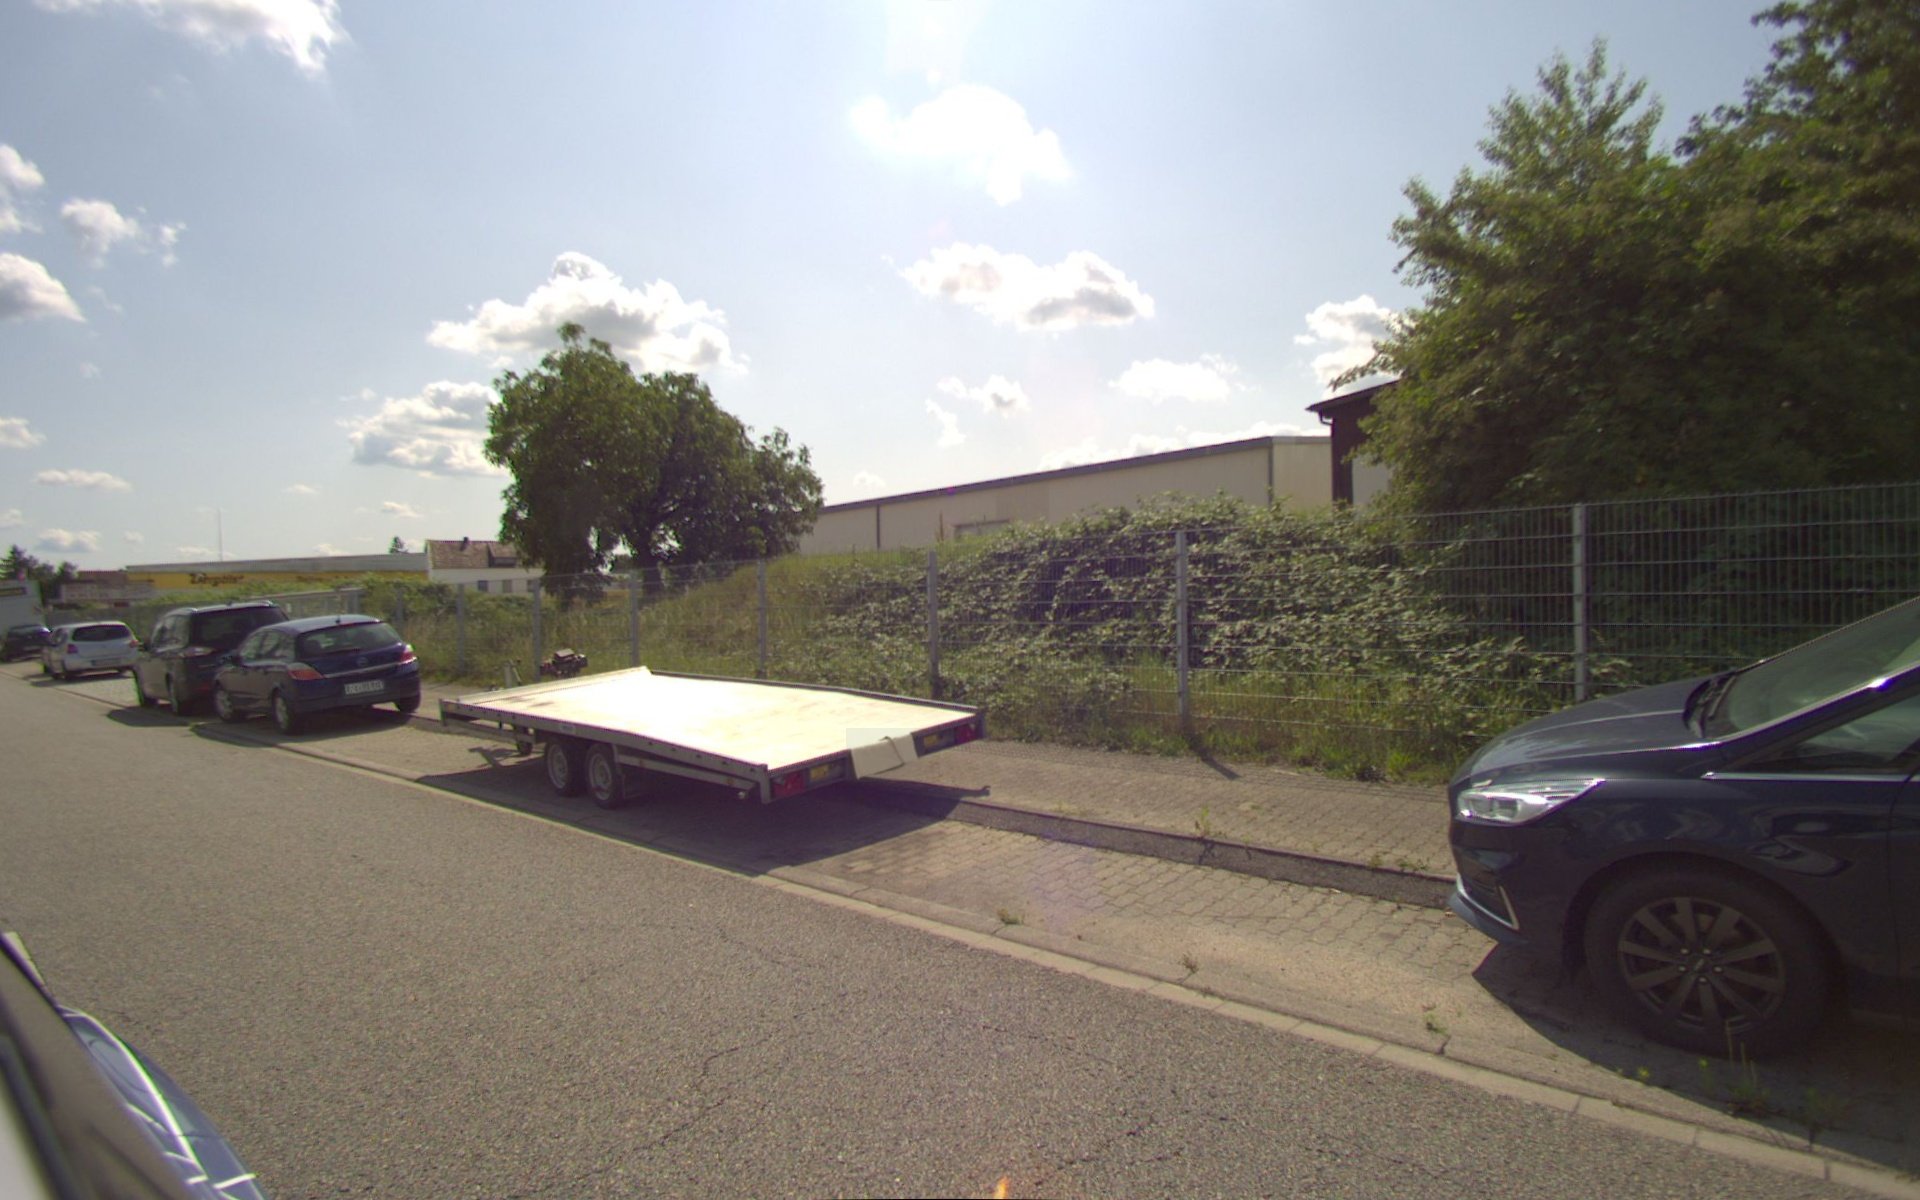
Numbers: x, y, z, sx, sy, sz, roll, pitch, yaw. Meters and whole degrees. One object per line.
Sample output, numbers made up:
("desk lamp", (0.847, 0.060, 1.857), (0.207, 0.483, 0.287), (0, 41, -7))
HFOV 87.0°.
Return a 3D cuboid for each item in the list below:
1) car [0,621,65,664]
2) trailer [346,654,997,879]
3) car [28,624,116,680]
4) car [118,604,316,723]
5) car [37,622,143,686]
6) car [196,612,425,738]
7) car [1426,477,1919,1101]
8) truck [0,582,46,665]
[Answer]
("car", (-37.425, 1.694, 40.674), (3.825, 1.439, 1.603), (-2, 6, 42))
("trailer", (-3.112, 1.140, 9.134), (7.132, 0.889, 2.247), (-1, 4, 43))
("car", (-26.852, 1.531, 30.577), (3.799, 1.409, 1.552), (-2, 4, 44))
("car", (-13.104, 1.022, 17.723), (4.710, 1.763, 1.782), (-1, 1, 41))
("car", (-23.214, 1.407, 26.961), (3.708, 1.494, 1.599), (-2, 2, 42))
("car", (-9.471, 0.986, 14.633), (4.197, 1.524, 1.561), (-2, 0, 40))
("car", (4.140, 0.515, 2.934), (4.733, 1.807, 1.808), (-2, -1, 41))
("truck", (-43.118, 1.136, 45.289), (6.903, 3.386, 2.228), (-2, 3, 41))
